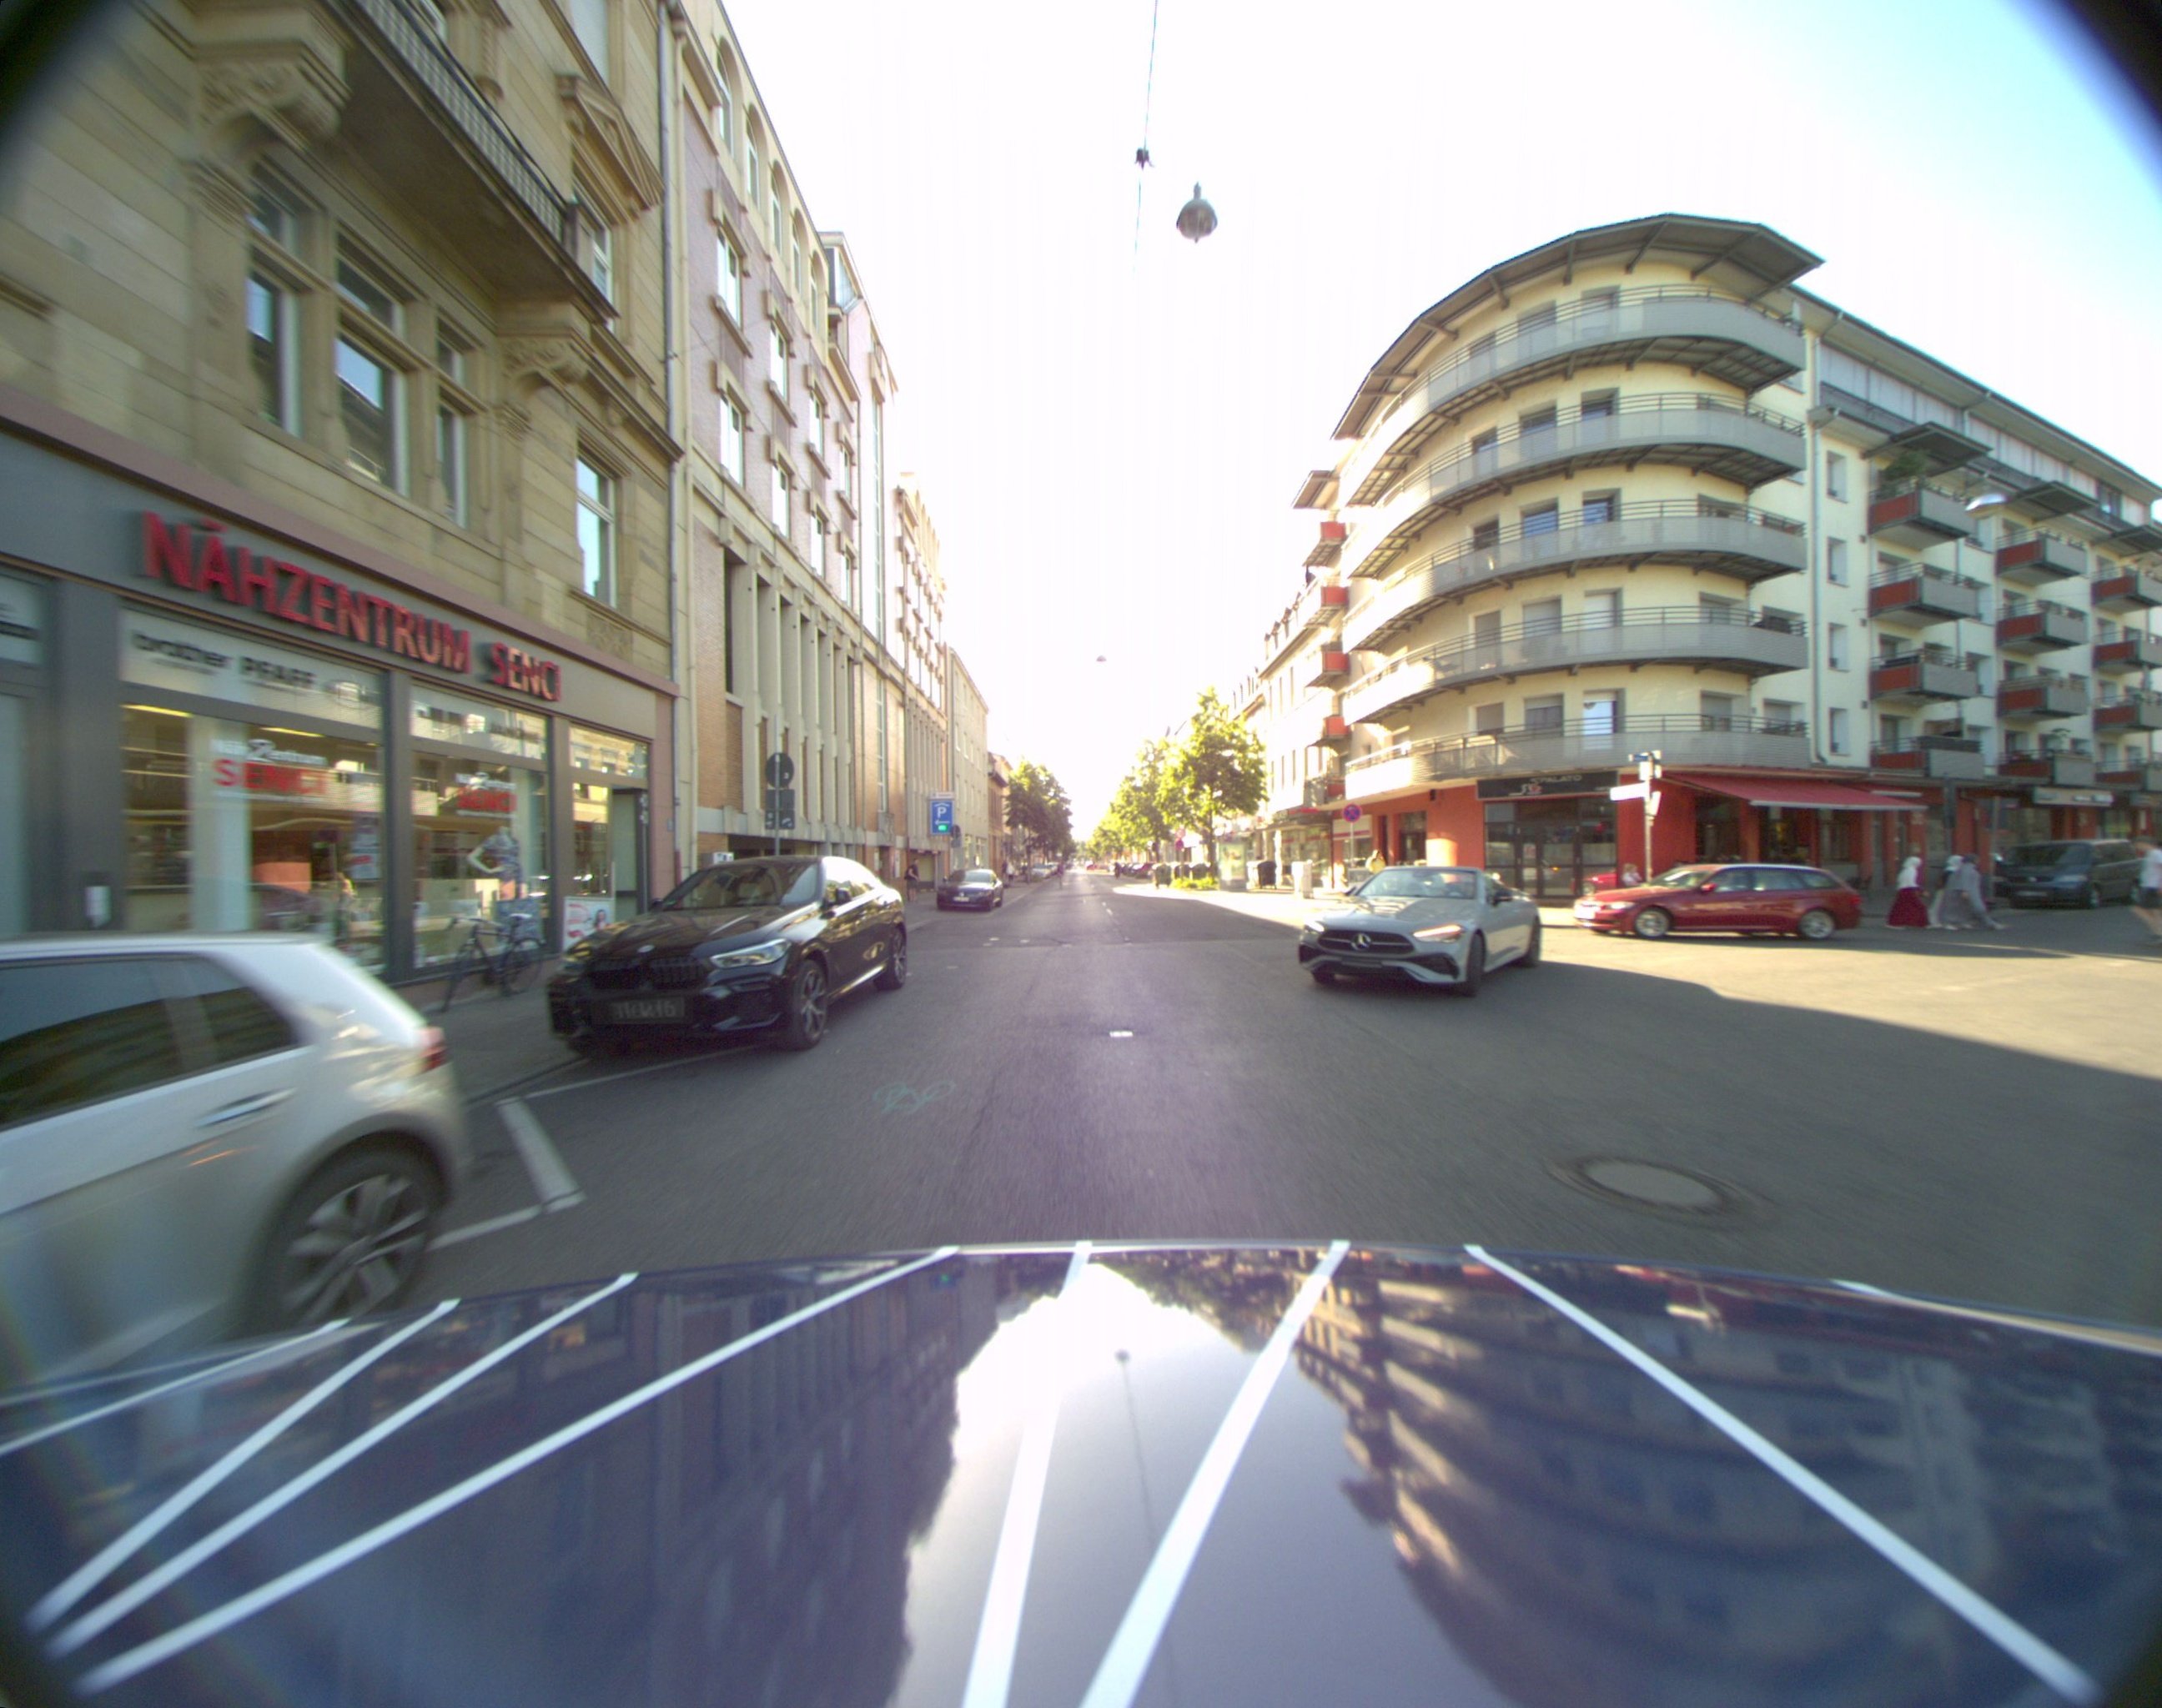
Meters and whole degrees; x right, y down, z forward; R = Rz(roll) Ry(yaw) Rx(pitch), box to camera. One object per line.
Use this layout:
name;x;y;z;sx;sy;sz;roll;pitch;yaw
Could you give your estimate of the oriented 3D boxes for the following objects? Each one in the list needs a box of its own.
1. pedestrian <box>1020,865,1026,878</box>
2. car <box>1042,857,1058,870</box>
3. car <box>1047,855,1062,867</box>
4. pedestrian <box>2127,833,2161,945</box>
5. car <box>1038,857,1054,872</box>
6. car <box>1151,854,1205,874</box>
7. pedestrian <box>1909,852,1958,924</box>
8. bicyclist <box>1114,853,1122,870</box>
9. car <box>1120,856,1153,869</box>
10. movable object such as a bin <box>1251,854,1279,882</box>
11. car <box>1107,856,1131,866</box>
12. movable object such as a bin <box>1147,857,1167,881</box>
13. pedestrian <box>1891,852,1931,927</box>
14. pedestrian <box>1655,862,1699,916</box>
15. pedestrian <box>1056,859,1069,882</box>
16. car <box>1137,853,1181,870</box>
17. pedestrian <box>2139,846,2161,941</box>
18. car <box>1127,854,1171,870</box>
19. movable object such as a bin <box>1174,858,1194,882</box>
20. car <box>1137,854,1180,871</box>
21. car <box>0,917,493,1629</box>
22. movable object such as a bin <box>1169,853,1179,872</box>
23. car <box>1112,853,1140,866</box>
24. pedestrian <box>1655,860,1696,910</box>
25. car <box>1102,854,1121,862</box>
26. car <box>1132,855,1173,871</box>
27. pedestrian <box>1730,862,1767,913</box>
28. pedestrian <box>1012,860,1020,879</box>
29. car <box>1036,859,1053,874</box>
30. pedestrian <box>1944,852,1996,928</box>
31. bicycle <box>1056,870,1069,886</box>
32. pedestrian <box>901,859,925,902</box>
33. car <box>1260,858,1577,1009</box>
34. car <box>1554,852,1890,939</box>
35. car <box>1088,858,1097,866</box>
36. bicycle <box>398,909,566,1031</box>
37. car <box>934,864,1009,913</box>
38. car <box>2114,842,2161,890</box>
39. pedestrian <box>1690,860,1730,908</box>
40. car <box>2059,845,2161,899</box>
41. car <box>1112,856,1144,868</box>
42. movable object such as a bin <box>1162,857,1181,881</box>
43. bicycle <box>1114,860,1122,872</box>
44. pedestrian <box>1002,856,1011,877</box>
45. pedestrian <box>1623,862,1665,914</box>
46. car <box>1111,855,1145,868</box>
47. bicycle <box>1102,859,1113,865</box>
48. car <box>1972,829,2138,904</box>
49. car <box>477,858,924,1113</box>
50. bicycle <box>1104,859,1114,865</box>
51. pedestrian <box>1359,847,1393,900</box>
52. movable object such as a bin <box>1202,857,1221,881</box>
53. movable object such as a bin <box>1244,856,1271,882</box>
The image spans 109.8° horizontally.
pedestrian;-4.788;1.464;62.539;0.394;1.027;0.739;2;0;-1
car;-3.889;1.190;95.969;1.888;1.518;4.233;1;0;-1
car;-3.843;0.993;109.455;1.999;1.680;4.516;2;0;-1
pedestrian;17.849;0.572;12.601;0.588;1.817;0.557;-1;0;-33
car;-3.798;1.164;83.624;1.618;1.520;4.234;2;0;-1
car;7.869;0.781;61.865;4.213;1.459;1.740;-2;0;2
pedestrian;18.425;0.716;16.426;0.576;1.526;0.698;-1;0;-41
bicyclist;3.521;0.706;71.867;0.698;1.643;1.036;-1;0;2
car;6.685;1.039;91.688;3.791;1.450;1.780;-1;0;-3
movable object such as a bin;9.329;0.718;38.518;1.045;1.396;1.314;-1;0;-1
car;6.417;1.165;127.588;3.788;1.455;1.710;-2;0;-3
movable object such as a bin;4.701;0.908;46.843;1.045;1.463;1.452;-1;0;-1
pedestrian;17.436;0.726;15.953;0.543;1.526;0.551;-1;0;-42
pedestrian;15.143;0.879;19.317;0.576;1.332;0.698;-1;0;-29
pedestrian;-1.186;1.057;48.959;0.804;1.381;0.931;-2;0;-1
car;7.062;0.689;69.288;3.757;1.459;1.739;-2;0;0
pedestrian;18.461;0.660;12.879;0.617;1.603;0.581;-1;0;-33
car;7.214;0.878;80.836;4.505;1.450;1.790;-3;0;-2
movable object such as a bin;6.315;0.986;46.715;1.045;1.463;1.143;-1;0;-1
car;7.296;0.809;72.017;3.850;1.420;1.790;-2;0;1
car;-3.354;1.017;0.996;1.843;1.478;4.184;-2;0;0
movable object such as a bin;6.581;0.604;53.777;0.636;1.333;0.805;-1;0;-1
car;6.768;0.824;114.627;4.116;1.825;2.038;-2;0;0
pedestrian;16.077;0.824;20.547;0.576;1.332;0.698;-1;0;-29
car;7.048;0.943;176.951;4.135;1.670;2.000;-2;0;-1
car;6.965;0.858;74.330;3.928;1.477;1.771;-2;0;1
pedestrian;17.735;0.880;20.199;0.698;1.332;0.576;-1;0;37
pedestrian;-5.352;1.269;62.615;0.582;1.550;1.020;2;0;-1
car;-3.763;1.272;77.823;1.618;1.520;3.060;1;0;-1
pedestrian;18.300;0.726;15.653;0.543;1.526;0.685;-1;0;-41
bicycle;-1.171;1.548;48.951;0.805;0.958;1.996;-2;-1;-1
pedestrian;-6.443;1.017;29.234;0.693;1.626;0.889;1;0;-1
car;4.545;0.768;9.716;1.994;1.414;5.129;1;0;45
car;12.036;0.738;14.534;4.731;1.506;1.921;0;0;2
car;2.227;1.512;151.556;1.662;1.526;3.760;-3;0;0
bicycle;-6.641;1.227;8.553;0.359;1.078;1.941;1;0;-1
car;-3.836;1.173;27.445;1.922;1.470;4.964;3;0;0
car;39.126;0.434;27.062;4.188;1.650;1.907;0;0;-24
pedestrian;17.714;0.835;21.393;0.576;1.332;0.698;-1;0;-29
car;34.278;0.568;24.834;4.188;1.650;1.907;0;0;-24
car;6.541;1.162;105.933;4.377;1.561;1.946;-1;0;0
movable object such as a bin;5.567;0.924;46.801;1.045;1.463;1.143;-1;0;-1
bicycle;3.533;1.109;71.912;0.707;1.140;1.968;-1;0;2
pedestrian;-6.480;1.080;66.350;0.624;1.755;0.771;1;0;1
pedestrian;14.794;0.879;19.961;0.576;1.332;0.698;-1;0;-29
car;6.347;1.035;102.553;4.377;1.561;1.980;-1;0;0
bicycle;5.528;1.636;158.484;2.006;1.023;0.473;-3;0;-13
car;28.776;0.353;22.448;4.357;2.037;2.031;0;0;-24
car;-3.170;0.944;7.739;1.978;1.715;4.824;-2;0;1
bicycle;5.809;1.626;157.011;2.006;1.023;0.473;-3;0;-13
pedestrian;9.512;0.615;24.550;0.666;1.649;1.036;-1;0;-1
movable object such as a bin;8.029;0.898;46.798;0.966;1.463;1.143;-1;0;-1
movable object such as a bin;9.284;0.763;40.006;1.045;1.337;1.314;-1;0;-1
